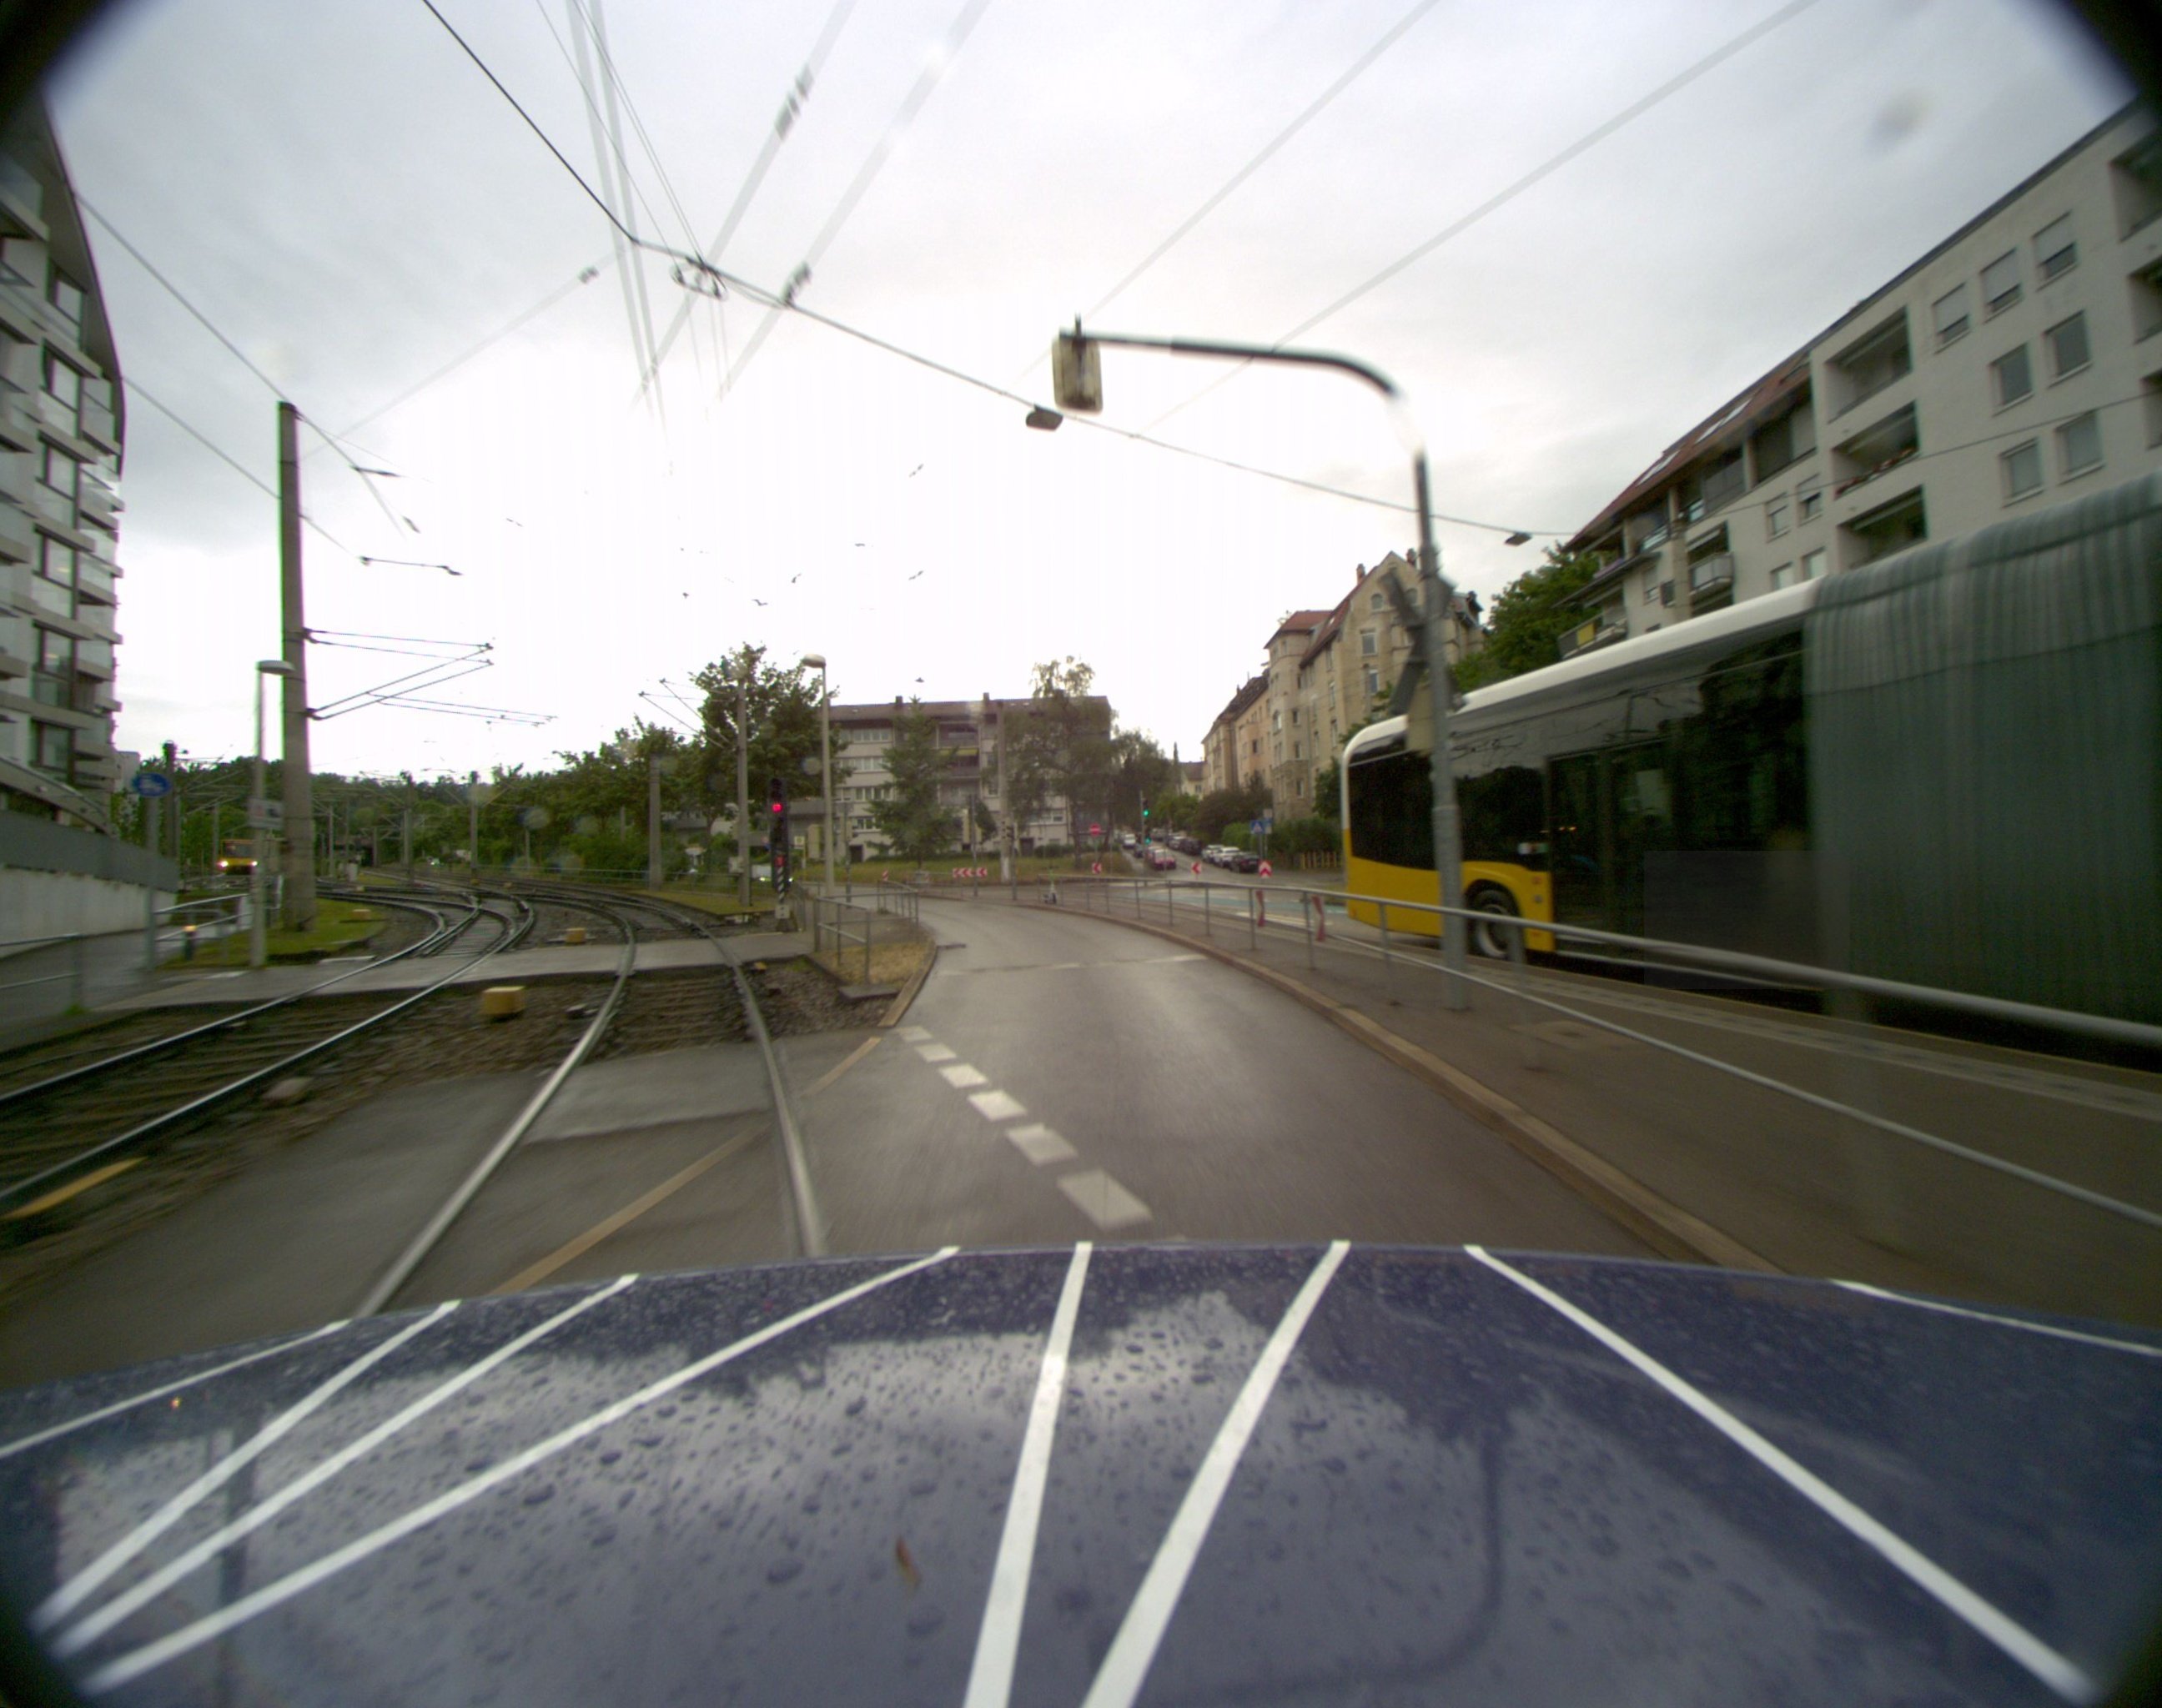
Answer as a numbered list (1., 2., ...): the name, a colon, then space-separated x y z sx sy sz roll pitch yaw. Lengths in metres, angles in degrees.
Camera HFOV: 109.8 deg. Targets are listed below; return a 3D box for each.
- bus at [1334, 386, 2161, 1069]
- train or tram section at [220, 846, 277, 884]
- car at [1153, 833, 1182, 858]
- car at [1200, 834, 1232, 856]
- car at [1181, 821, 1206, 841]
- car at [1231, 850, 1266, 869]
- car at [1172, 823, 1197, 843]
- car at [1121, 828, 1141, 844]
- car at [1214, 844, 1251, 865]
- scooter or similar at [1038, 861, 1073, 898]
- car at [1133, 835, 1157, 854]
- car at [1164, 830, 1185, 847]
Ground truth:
1. bus: 6.127 -0.710 7.886 2.599 3.449 9.098 -2 1 -9
2. train or tram section: -84.516 1.070 77.373 14.461 3.540 3.213 -1 1 45
3. car: 7.138 -0.688 63.103 1.998 2.002 4.000 -2 0 2
4. car: 12.022 -0.803 67.782 1.805 1.824 4.282 -1 0 -4
5. car: 11.570 -2.345 78.218 1.680 1.824 3.664 -2 1 -4
6. car: 12.088 0.372 55.126 1.752 1.216 4.356 -2 1 2
7. car: 11.120 -2.228 82.096 1.999 2.002 3.999 -2 1 -1
8. car: 6.050 -2.184 92.056 1.805 1.824 4.282 -2 1 -4
9. car: 12.320 -0.025 62.149 1.999 1.584 4.355 -2 1 -1
10. scooter or similar: -0.813 0.779 23.795 0.435 1.107 1.602 -4 1 -25
11. car: 6.624 -1.002 78.943 1.805 1.824 4.282 -2 1 -4
12. car: 10.879 -1.772 88.573 1.680 1.824 3.664 -2 1 -4
